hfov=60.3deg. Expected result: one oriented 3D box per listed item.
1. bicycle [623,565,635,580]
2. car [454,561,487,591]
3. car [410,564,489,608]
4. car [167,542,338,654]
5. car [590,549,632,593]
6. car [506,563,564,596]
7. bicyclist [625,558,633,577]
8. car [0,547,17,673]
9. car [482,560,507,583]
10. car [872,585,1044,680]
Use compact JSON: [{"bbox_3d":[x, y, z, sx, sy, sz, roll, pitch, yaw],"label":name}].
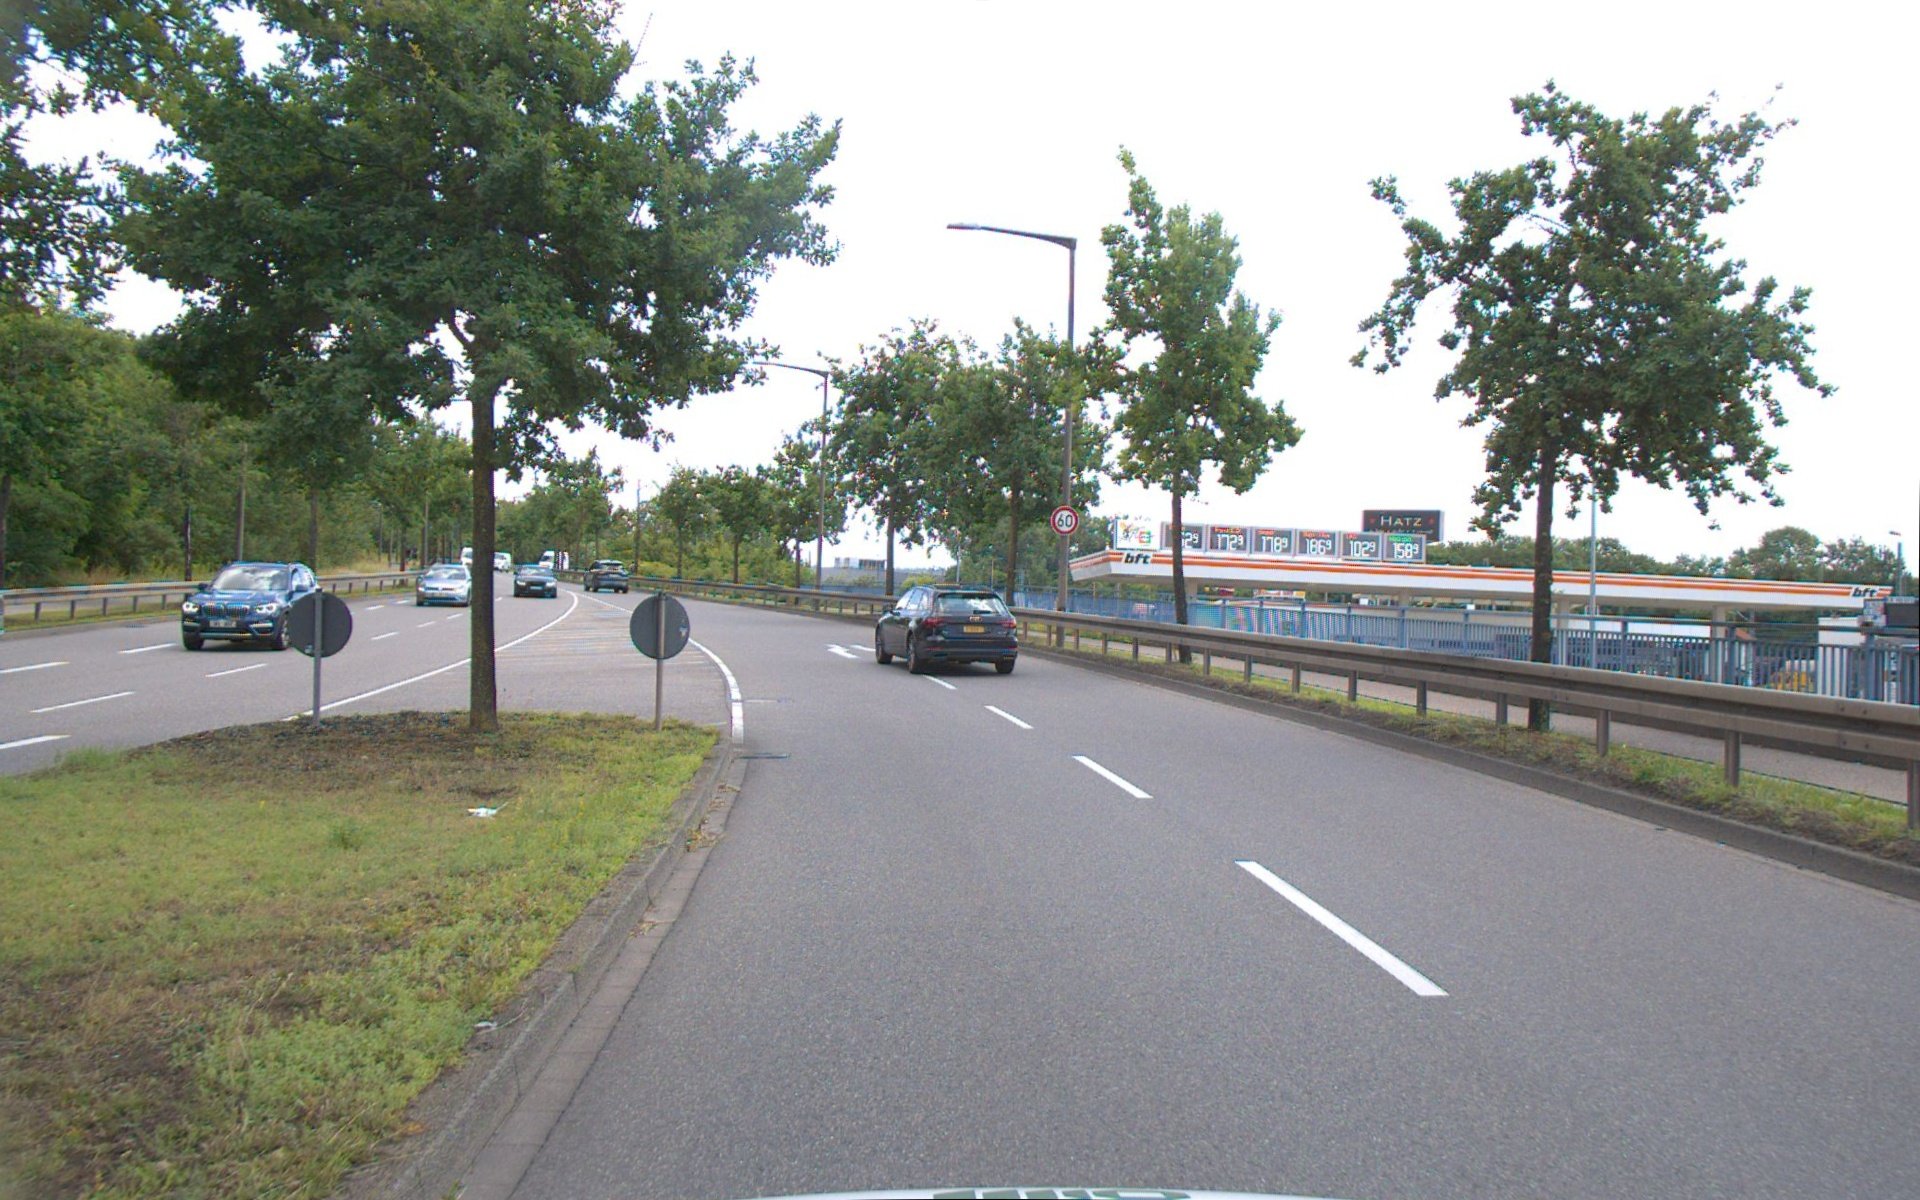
[{"bbox_3d":[-22.070,-1.825,110.265,0.533,0.881,1.742,4,-1,-17],"label":"bicycle"},{"bbox_3d":[-36.560,-1.831,123.624,1.959,2.048,4.545,3,1,-13],"label":"car"},{"bbox_3d":[-18.237,-0.527,59.328,1.956,1.420,4.691,1,1,-8],"label":"car"},{"bbox_3d":[-14.129,-0.121,33.341,1.956,2.048,4.809,2,2,-8],"label":"car"},{"bbox_3d":[-18.293,-1.476,86.660,1.959,2.073,4.696,2,-2,-13],"label":"car"},{"bbox_3d":[-18.638,-0.894,72.736,1.867,1.387,4.568,0,1,-7],"label":"car"},{"bbox_3d":[-22.098,-2.174,110.332,0.466,1.189,0.823,1,-2,-17],"label":"bicyclist"},{"bbox_3d":[-15.186,0.122,23.022,1.956,1.894,4.705,2,0,-9],"label":"car"},{"bbox_3d":[-46.384,-2.830,164.752,1.964,2.073,4.685,2,-2,-20],"label":"car"},{"bbox_3d":[-0.140,0.512,28.631,1.959,1.414,4.561,3,0,-13],"label":"car"}]
